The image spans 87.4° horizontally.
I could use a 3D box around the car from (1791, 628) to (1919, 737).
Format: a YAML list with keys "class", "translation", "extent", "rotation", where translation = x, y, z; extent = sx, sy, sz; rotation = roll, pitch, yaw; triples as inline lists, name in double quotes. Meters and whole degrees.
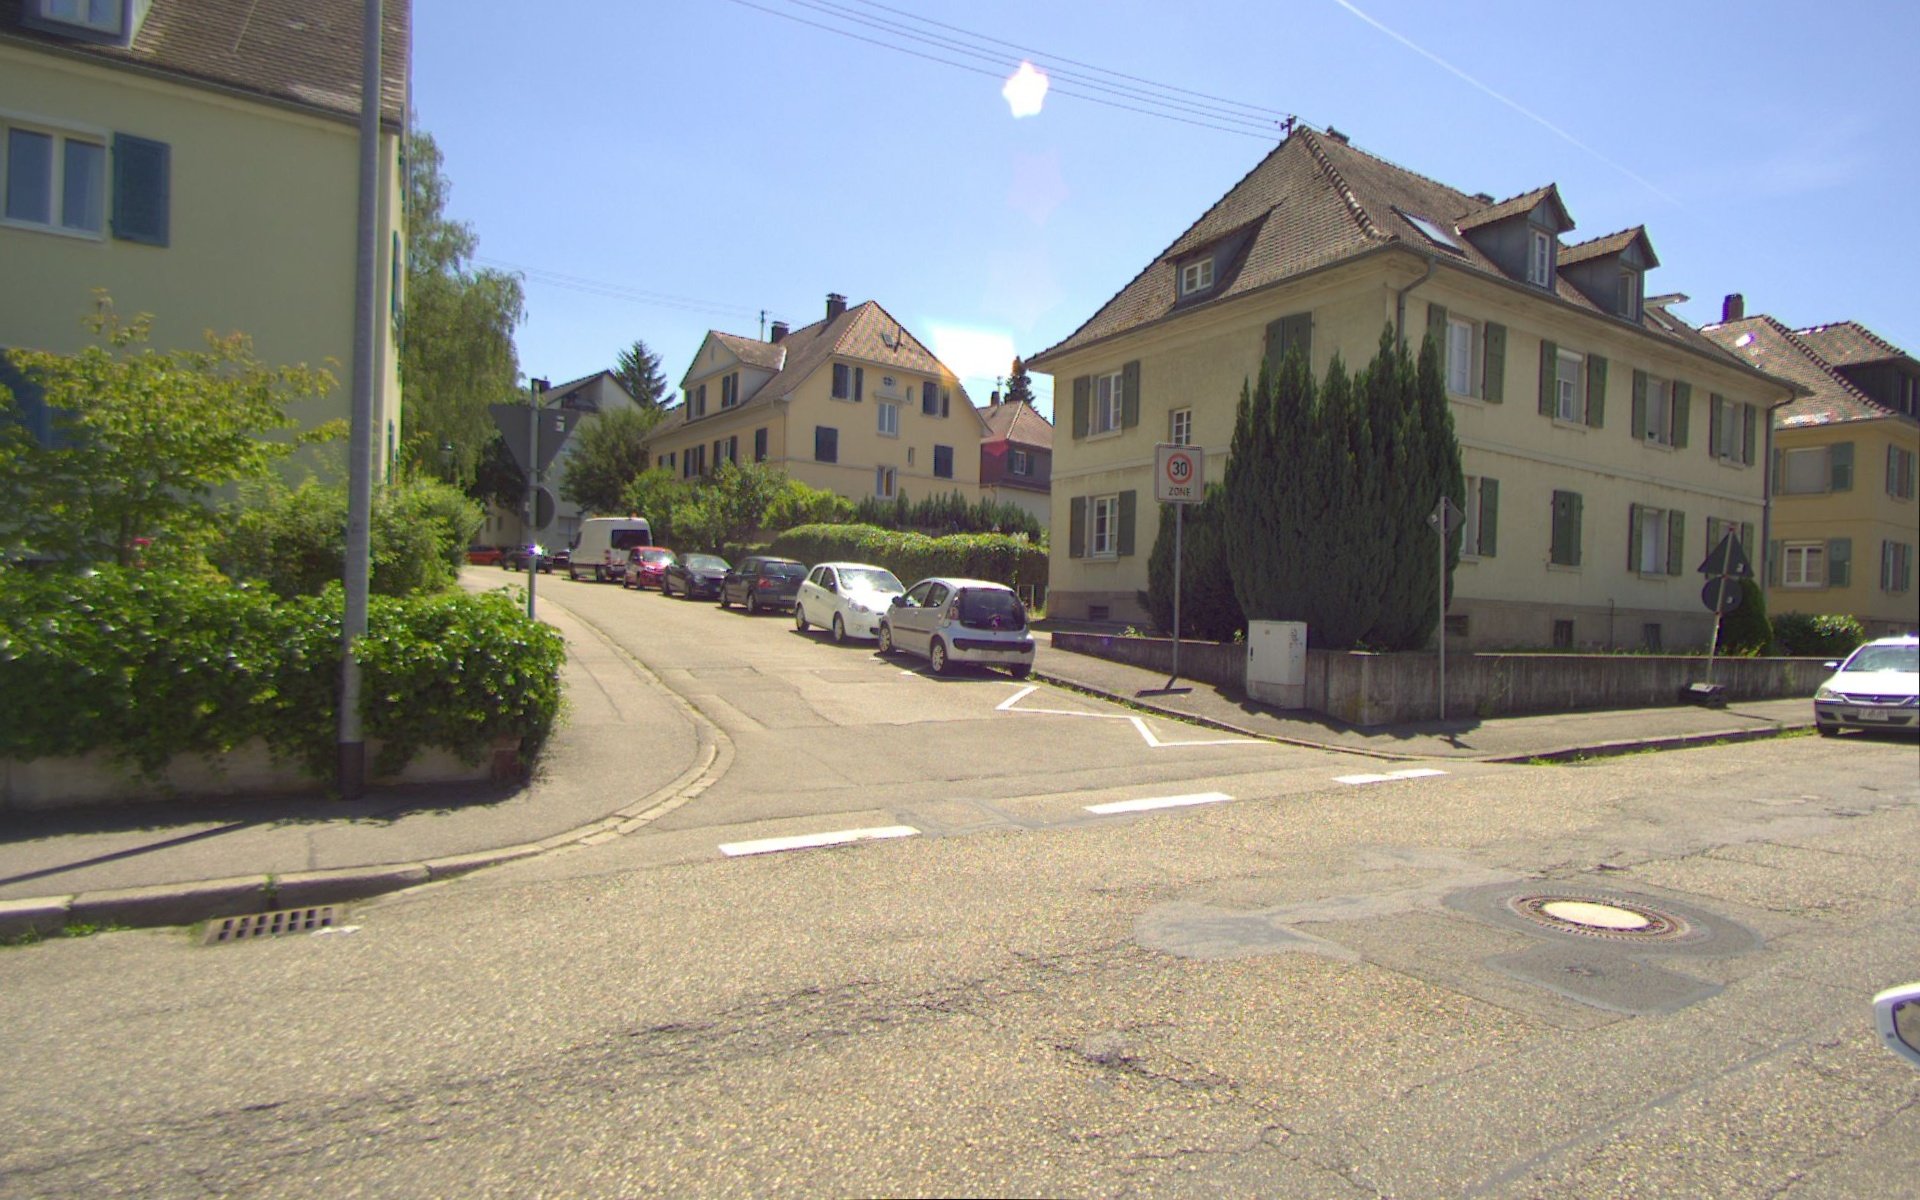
- class: "car"
  translation: [14.305, 1.177, 15.126]
  extent: [3.883, 1.466, 1.749]
  rotation: [2, -2, -34]

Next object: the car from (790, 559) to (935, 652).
- class: "car"
  translation: [-2.034, 0.056, 19.993]
  extent: [1.725, 1.476, 3.569]
  rotation: [3, 3, -25]

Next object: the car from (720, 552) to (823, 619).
- class: "car"
  translation: [-4.984, -0.411, 26.264]
  extent: [1.714, 1.476, 3.188]
  rotation: [3, 4, -28]

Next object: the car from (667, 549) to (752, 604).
- class: "car"
  translation: [-7.870, -0.766, 31.339]
  extent: [1.727, 1.476, 3.565]
  rotation: [3, 3, -28]

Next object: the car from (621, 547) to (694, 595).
- class: "car"
  translation: [-10.961, -1.064, 36.232]
  extent: [1.728, 1.476, 3.563]
  rotation: [3, 3, -29]

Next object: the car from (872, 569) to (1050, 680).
- class: "car"
  translation: [-0.088, 0.352, 16.731]
  extent: [1.712, 1.476, 3.192]
  rotation: [3, 3, -25]

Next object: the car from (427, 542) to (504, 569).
- class: "car"
  translation: [-31.030, -2.773, 63.090]
  extent: [3.971, 1.496, 1.975]
  rotation: [1, 2, -43]

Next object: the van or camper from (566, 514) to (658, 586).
- class: "van or camper"
  translation: [-14.577, -2.064, 41.922]
  extent: [1.982, 2.747, 5.311]
  rotation: [2, 1, -38]

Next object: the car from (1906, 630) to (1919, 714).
- class: "car"
  translation: [18.355, 1.261, 17.562]
  extent: [4.175, 1.420, 1.784]
  rotation: [2, -2, -34]

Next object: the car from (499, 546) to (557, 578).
- class: "car"
  translation: [-22.022, -1.942, 51.136]
  extent: [1.722, 1.476, 3.171]
  rotation: [1, 2, -43]
